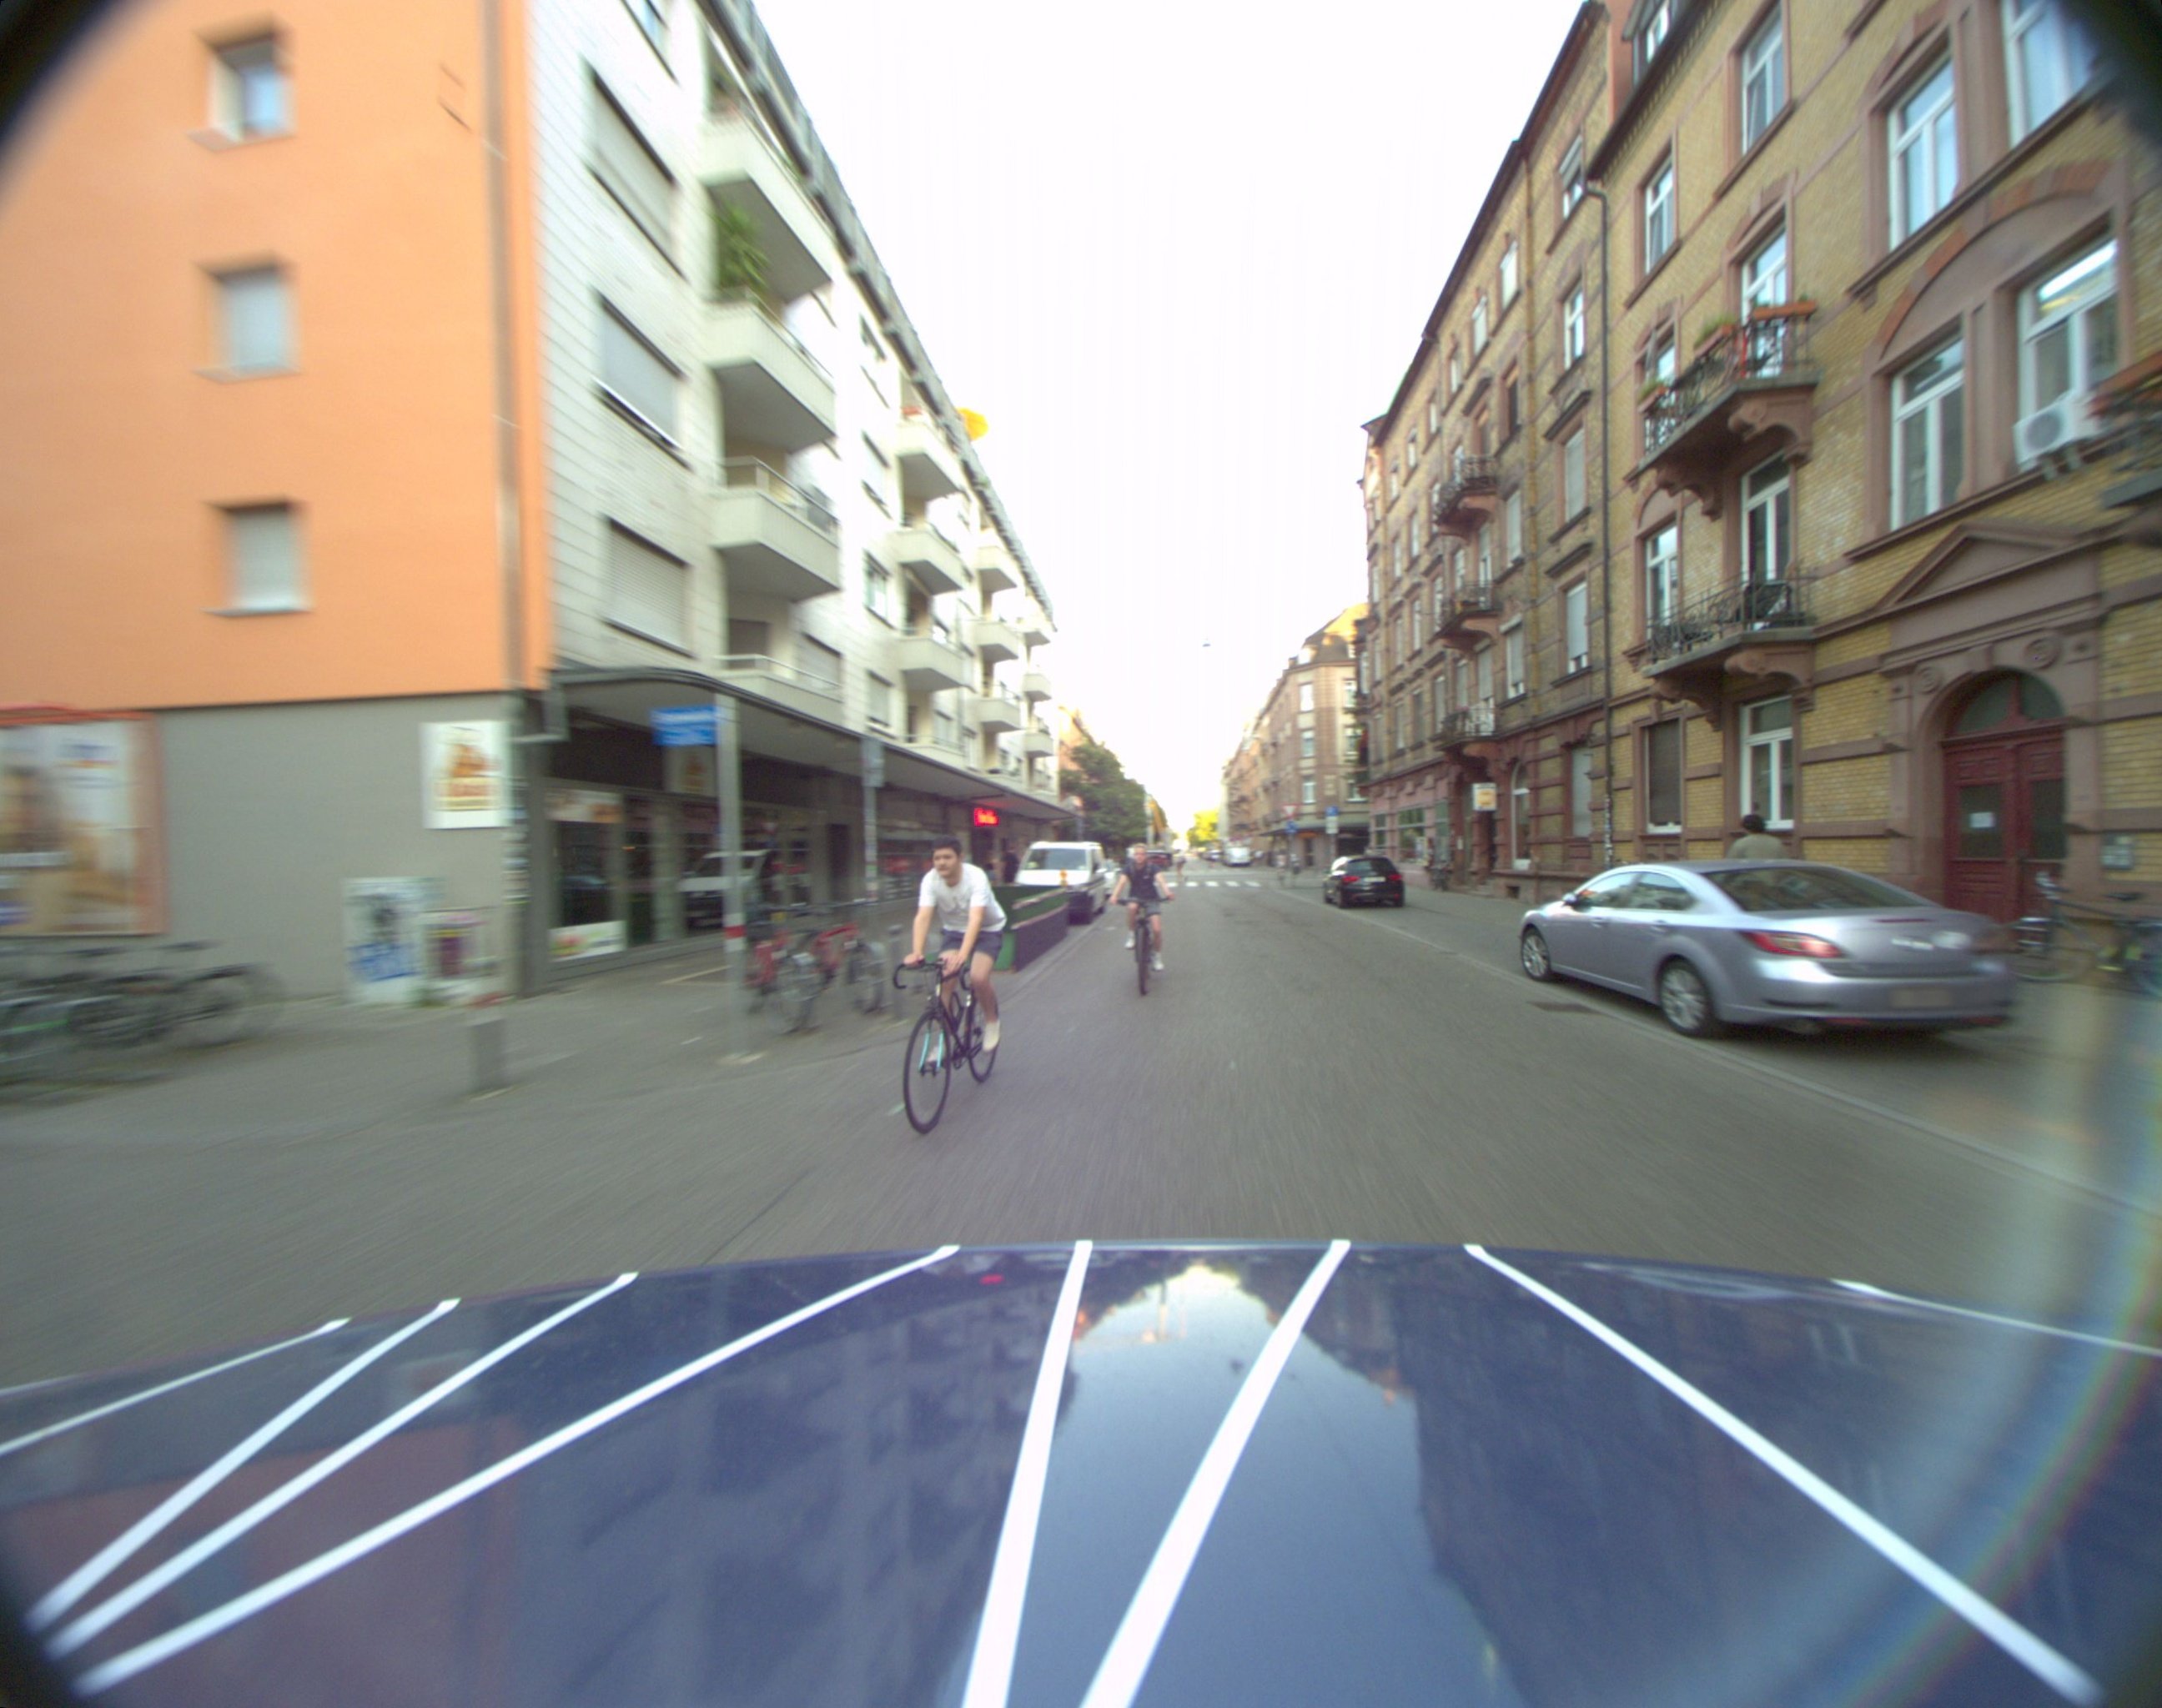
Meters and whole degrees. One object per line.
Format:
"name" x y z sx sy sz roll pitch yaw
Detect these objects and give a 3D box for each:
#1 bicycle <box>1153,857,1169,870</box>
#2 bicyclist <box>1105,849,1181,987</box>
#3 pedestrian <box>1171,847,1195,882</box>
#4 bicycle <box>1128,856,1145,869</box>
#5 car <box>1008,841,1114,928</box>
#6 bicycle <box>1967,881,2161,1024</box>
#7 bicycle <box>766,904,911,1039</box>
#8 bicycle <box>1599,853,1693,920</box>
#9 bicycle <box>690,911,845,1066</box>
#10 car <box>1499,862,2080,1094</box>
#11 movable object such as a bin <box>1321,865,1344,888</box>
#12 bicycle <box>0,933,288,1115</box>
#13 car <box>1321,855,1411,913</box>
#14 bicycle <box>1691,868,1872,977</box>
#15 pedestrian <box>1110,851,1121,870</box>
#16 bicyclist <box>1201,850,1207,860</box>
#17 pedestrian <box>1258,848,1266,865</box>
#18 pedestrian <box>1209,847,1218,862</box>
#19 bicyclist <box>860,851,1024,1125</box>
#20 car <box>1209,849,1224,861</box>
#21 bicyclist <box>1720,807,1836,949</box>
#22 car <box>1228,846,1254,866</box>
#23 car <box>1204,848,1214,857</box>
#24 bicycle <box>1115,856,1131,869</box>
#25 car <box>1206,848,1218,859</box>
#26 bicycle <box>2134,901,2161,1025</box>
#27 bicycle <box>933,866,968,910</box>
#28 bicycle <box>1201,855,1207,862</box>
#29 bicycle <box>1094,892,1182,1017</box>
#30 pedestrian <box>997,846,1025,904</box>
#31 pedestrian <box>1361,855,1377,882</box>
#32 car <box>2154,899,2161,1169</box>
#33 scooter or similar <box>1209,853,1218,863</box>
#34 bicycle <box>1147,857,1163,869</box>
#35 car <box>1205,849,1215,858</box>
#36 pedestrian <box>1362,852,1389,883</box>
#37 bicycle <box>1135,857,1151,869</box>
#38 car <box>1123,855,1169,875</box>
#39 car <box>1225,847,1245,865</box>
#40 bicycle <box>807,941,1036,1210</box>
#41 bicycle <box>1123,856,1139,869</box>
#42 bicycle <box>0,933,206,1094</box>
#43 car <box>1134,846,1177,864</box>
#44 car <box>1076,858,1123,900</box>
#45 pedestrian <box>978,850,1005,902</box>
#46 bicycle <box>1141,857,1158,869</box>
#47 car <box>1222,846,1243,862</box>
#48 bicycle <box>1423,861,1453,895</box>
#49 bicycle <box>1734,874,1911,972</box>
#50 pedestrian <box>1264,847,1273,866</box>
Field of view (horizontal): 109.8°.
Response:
"bicycle" 7.444 0.840 70.803 0.666 1.162 2.112 1 0 -20
"bicyclist" 0.759 0.742 9.107 0.793 1.562 0.827 -2 0 9
"pedestrian" 5.359 0.553 39.969 1.047 1.800 0.757 -2 -2 18
"bicycle" 5.107 0.807 70.050 0.666 1.125 2.112 1 0 -20
"car" -0.360 0.689 19.960 1.962 1.962 5.005 1 0 8
"bicycle" 9.408 0.852 6.998 0.550 1.117 1.761 -4 0 8
"bicycle" -2.651 1.183 8.176 1.939 1.128 0.658 2 2 45
"bicycle" 10.588 0.571 14.336 0.528 1.164 2.049 -3 0 11
"bicycle" -3.050 1.195 7.278 1.939 1.128 0.658 2 2 45
"car" 5.929 0.866 7.327 1.726 1.412 4.584 -2 0 7
"movable object such as a bin" 10.766 0.958 32.569 0.763 0.910 0.730 -2 2 4
"bicycle" -7.753 1.287 6.035 0.563 1.061 1.965 0 2 12
"car" 7.971 0.785 21.580 1.696 1.412 3.857 -2 0 10
"bicycle" 8.898 0.821 9.757 0.710 1.189 1.741 -2 1 0
"pedestrian" 2.967 0.557 64.590 0.537 1.597 0.870 0 -1 34
"bicyclist" 20.428 0.234 126.406 0.754 1.630 1.201 -1 0 2
"pedestrian" 19.017 0.228 79.733 0.748 1.733 1.214 -2 1 12
"pedestrian" 14.535 0.018 83.373 0.809 1.650 0.672 -1 0 1
"bicyclist" -0.813 0.751 4.714 0.650 1.500 0.954 -2 2 10
"car" 21.128 0.179 118.851 2.140 1.811 4.543 -2 0 8
"bicyclist" 8.880 0.283 9.711 0.710 1.720 0.843 -2 2 0
"car" 16.482 0.222 78.463 2.140 1.947 4.771 -2 0 6
"car" 26.817 -0.288 158.673 1.907 1.729 3.852 -2 1 11
"bicycle" 3.853 0.769 69.607 0.666 1.158 2.112 1 0 -20
"car" 23.818 -0.077 138.117 1.997 1.729 4.002 -2 1 11
"bicycle" 9.219 0.908 5.609 0.550 1.031 1.761 -4 0 8
"bicycle" -3.910 1.002 22.817 0.913 1.189 1.710 1 1 -6
"bicycle" 20.446 0.748 126.406 0.754 1.124 1.976 -1 0 2
"bicycle" 0.727 1.078 8.827 0.793 1.133 2.345 -2 0 9
"pedestrian" -2.255 0.658 24.576 0.710 1.818 0.861 0 2 7
"pedestrian" 12.674 0.636 33.427 0.504 1.137 0.791 -2 2 9
"car" 5.194 0.873 1.354 1.588 1.412 3.699 -2 0 8
"scooter or similar" 14.538 0.413 83.377 0.809 1.098 1.172 -1 0 2
"bicycle" 6.897 0.834 71.001 0.666 1.162 2.112 1 0 -20
"car" 25.942 -0.104 153.072 1.867 1.729 3.802 -2 1 11
"pedestrian" 12.554 0.583 32.393 0.650 1.247 0.908 -4 0 -8
"bicycle" 5.742 0.827 70.329 0.666 1.125 2.112 1 0 -20
"car" 6.246 1.040 73.220 4.004 1.658 1.824 -3 2 -24
"car" 17.103 0.210 84.565 1.878 1.892 4.329 -2 0 8
"bicycle" -0.828 1.171 4.596 0.657 1.012 1.919 -2 1 10
"bicycle" 4.550 0.788 69.832 0.666 1.158 2.112 1 0 -20
"bicycle" -8.419 1.285 6.078 0.563 1.061 1.758 0 2 12
"car" 9.991 0.059 101.820 5.150 2.182 2.335 -2 2 -18
"car" 0.777 0.919 29.439 1.595 1.492 3.424 1 1 5
"pedestrian" -2.925 0.694 24.829 0.710 1.656 0.745 0 2 7
"bicycle" 6.355 0.840 70.598 0.666 1.125 2.112 1 0 -20
"car" 18.020 -0.035 90.427 2.140 1.811 4.543 -2 0 8
"bicycle" 11.906 0.770 25.402 0.426 1.047 1.899 -2 0 11
"bicycle" 9.655 0.854 9.990 0.740 1.117 1.611 -3 0 1
"pedestrian" 17.391 0.222 70.388 0.654 1.768 0.693 -2 0 25
